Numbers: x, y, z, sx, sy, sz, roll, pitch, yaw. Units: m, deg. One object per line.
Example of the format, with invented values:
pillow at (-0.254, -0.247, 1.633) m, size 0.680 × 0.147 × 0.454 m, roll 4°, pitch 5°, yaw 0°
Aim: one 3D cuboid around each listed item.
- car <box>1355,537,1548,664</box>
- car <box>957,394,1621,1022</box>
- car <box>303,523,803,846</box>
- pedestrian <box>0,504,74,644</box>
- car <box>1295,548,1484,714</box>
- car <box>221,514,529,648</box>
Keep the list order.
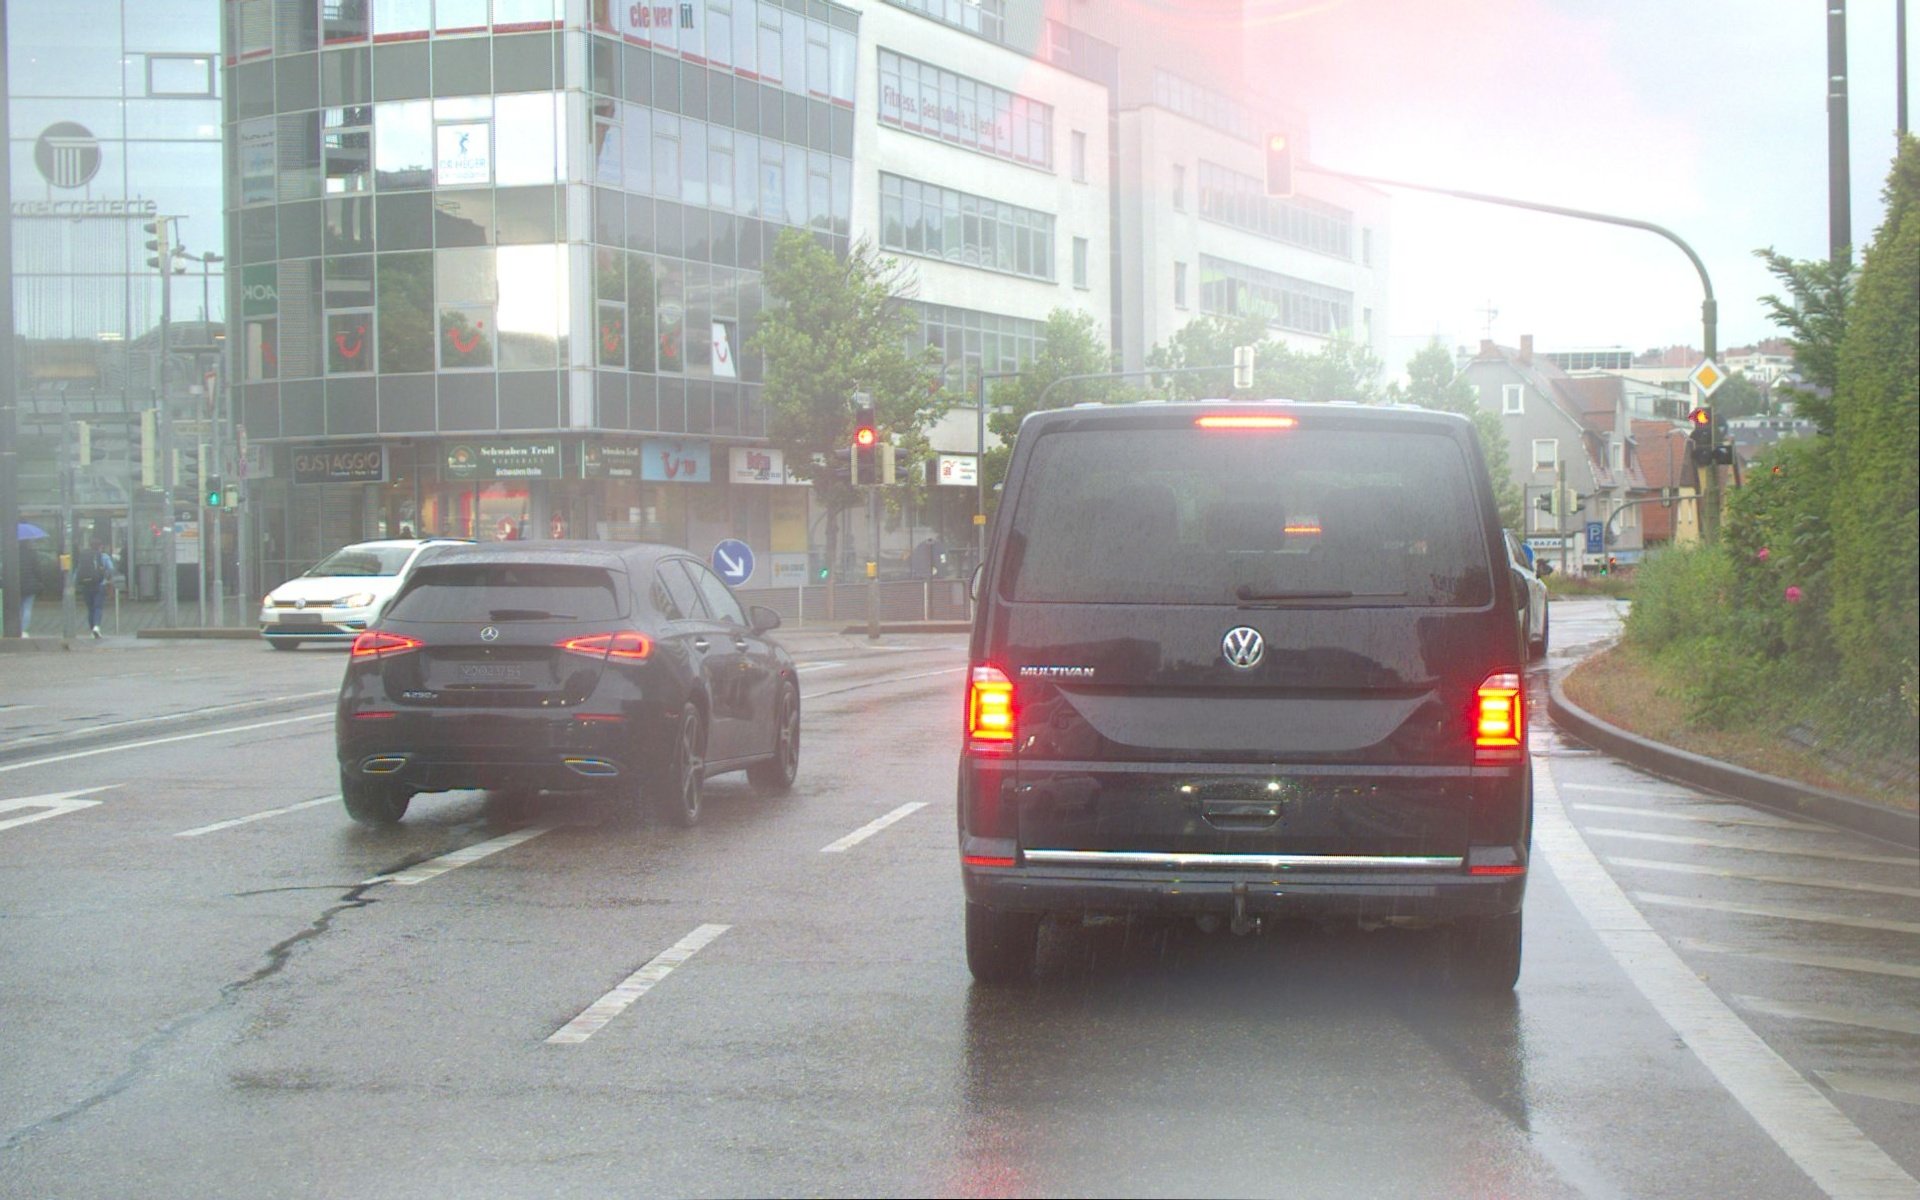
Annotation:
car at (5.713, -0.011, 39.682) m, size 1.913 × 1.395 × 3.456 m, roll 0°, pitch 1°, yaw 13°
car at (1.200, 0.296, 12.724) m, size 1.996 × 1.887 × 4.586 m, roll 0°, pitch 1°, yaw 5°
car at (-2.068, 0.363, 18.558) m, size 1.816 × 1.524 × 3.812 m, roll 1°, pitch 1°, yaw 7°
pedestrian at (-13.585, -0.390, 50.229) m, size 1.162 × 2.007 × 1.329 m, roll 0°, pitch 1°, yaw -17°
car at (4.267, 0.247, 33.728) m, size 1.634 × 1.443 × 4.267 m, roll 1°, pitch 2°, yaw 10°
car at (-7.685, -0.281, 45.596) m, size 1.888 × 1.676 × 4.500 m, roll 1°, pitch 1°, yaw 23°
